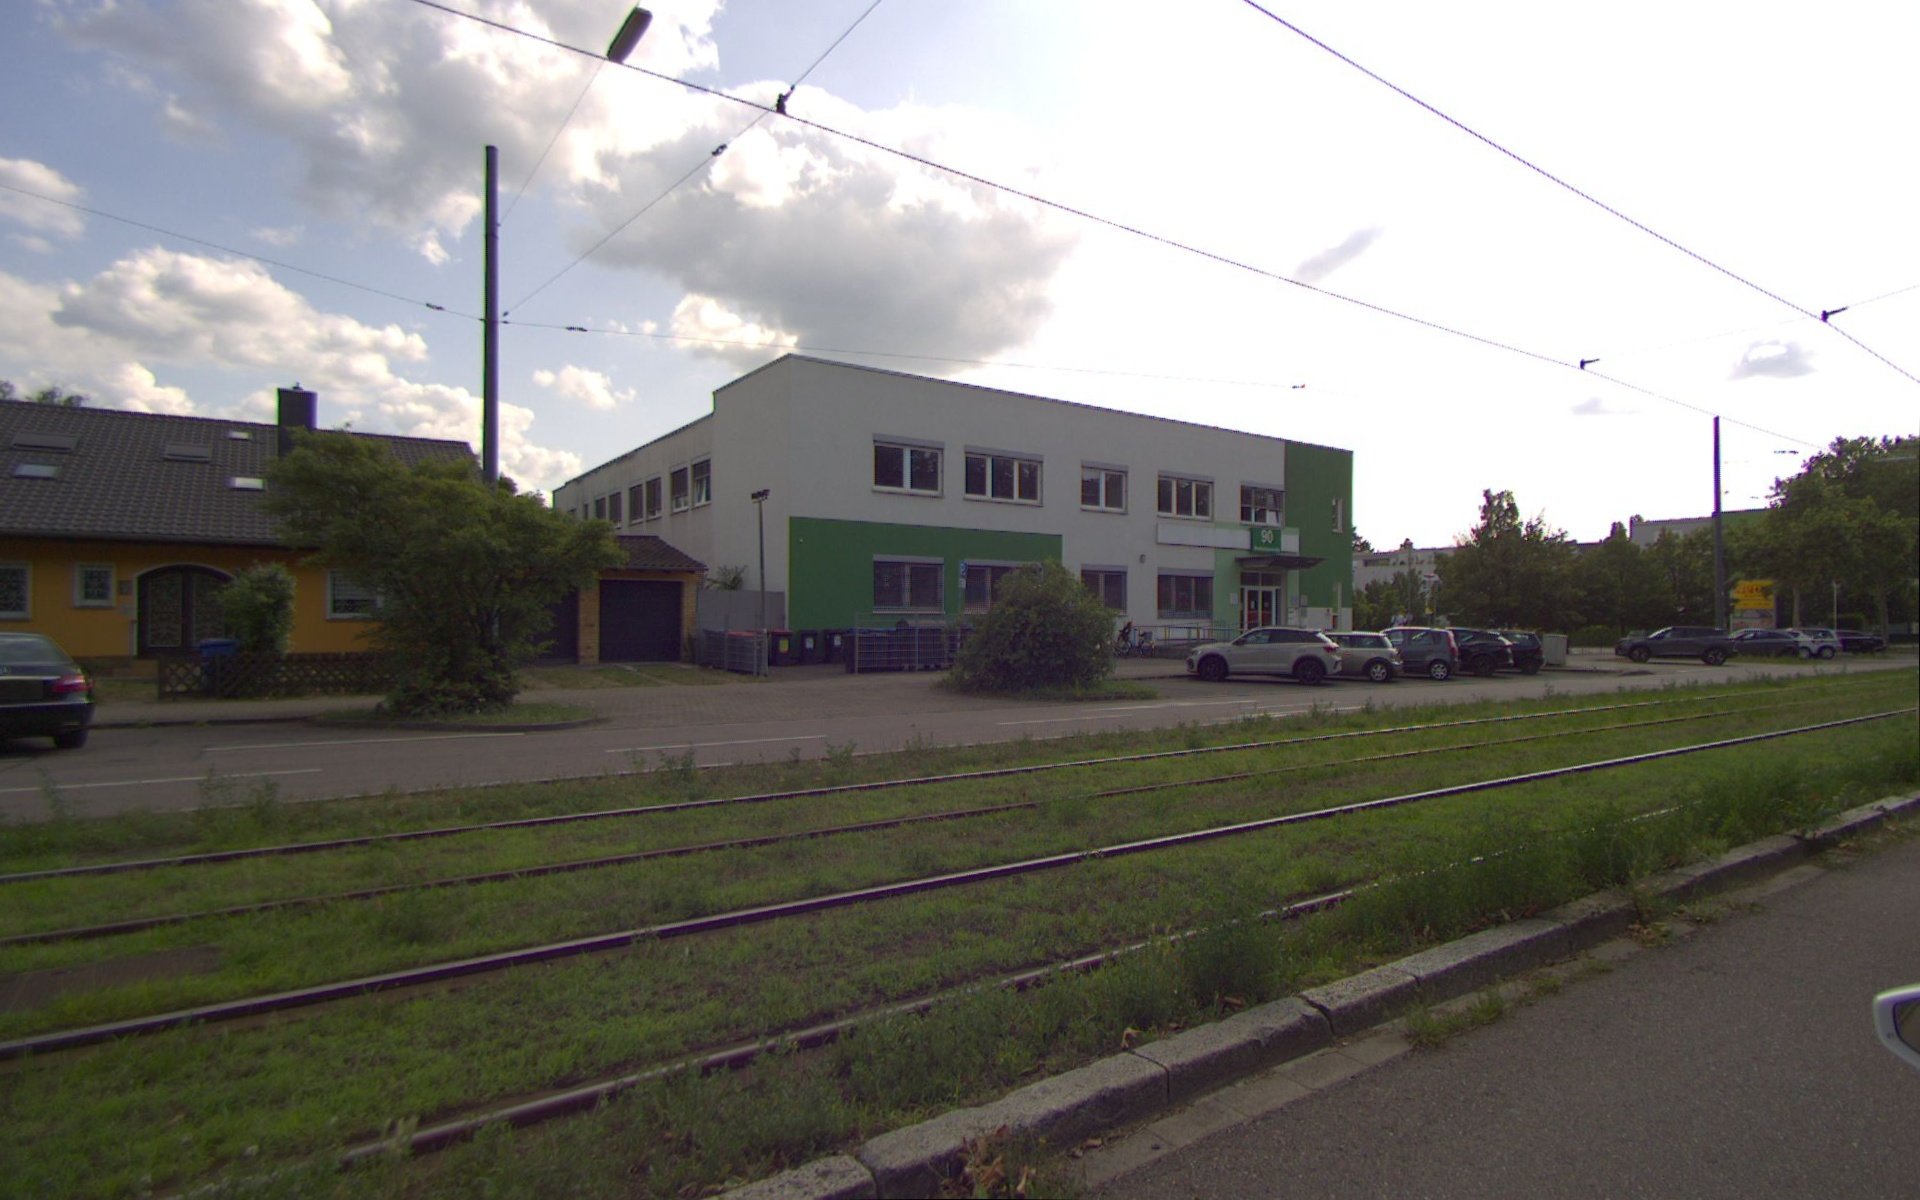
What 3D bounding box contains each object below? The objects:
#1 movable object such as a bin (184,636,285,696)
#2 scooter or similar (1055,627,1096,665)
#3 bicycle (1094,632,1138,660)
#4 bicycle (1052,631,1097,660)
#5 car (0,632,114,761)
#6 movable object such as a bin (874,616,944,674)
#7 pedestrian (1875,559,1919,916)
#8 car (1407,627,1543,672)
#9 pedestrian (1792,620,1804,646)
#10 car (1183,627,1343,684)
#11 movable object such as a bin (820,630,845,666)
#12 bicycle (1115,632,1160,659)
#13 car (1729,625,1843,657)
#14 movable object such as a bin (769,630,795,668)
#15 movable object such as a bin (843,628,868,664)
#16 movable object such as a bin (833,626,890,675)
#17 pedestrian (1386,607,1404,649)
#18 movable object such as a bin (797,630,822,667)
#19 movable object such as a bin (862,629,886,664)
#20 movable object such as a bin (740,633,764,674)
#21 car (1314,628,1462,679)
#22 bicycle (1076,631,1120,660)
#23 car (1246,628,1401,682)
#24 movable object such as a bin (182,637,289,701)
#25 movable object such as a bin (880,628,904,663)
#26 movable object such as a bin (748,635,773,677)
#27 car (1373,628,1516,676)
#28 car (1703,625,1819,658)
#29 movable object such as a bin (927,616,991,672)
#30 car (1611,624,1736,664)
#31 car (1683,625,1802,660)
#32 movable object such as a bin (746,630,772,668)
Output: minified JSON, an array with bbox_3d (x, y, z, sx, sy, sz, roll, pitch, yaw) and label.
[{"bbox_3d":[-14.598,1.303,20.250,1.602,1.107,1.246,1,-1,-36],"label":"movable object such as a bin"},{"bbox_3d":[3.809,1.507,33.269,1.073,1.171,1.306,2,0,-5],"label":"scooter or similar"},{"bbox_3d":[5.664,1.651,36.524,0.454,0.911,1.846,2,0,-33],"label":"bicycle"},{"bbox_3d":[4.016,1.586,35.348,0.454,0.911,1.846,2,0,-33],"label":"bicycle"},{"bbox_3d":[-12.410,1.098,12.458,4.576,1.425,1.877,-1,-3,36],"label":"car"},{"bbox_3d":[-1.425,1.239,28.227,1.693,1.540,1.000,0,1,-32],"label":"movable object such as a bin"},{"bbox_3d":[5.104,0.669,4.959,0.793,1.709,0.847,1,-1,39],"label":"pedestrian"},{"bbox_3d":[18.034,1.691,35.342,4.157,1.501,1.881,-1,-1,27],"label":"car"},{"bbox_3d":[56.502,2.227,67.715,0.597,1.699,0.463,1,-1,-36],"label":"pedestrian"},{"bbox_3d":[8.507,1.502,28.153,4.153,1.501,1.883,-1,-1,22],"label":"car"},{"bbox_3d":[-3.858,1.450,30.454,0.558,1.056,0.565,0,1,-34],"label":"movable object such as a bin"},{"bbox_3d":[6.547,1.677,37.085,0.454,0.911,1.846,2,0,-33],"label":"bicycle"},{"bbox_3d":[43.013,2.133,52.421,4.152,1.501,1.883,1,0,20],"label":"car"},{"bbox_3d":[-5.224,1.433,29.507,0.558,1.056,0.565,0,1,-34],"label":"movable object such as a bin"},{"bbox_3d":[-3.217,1.413,30.880,0.558,1.056,0.565,0,1,-34],"label":"movable object such as a bin"},{"bbox_3d":[-2.699,1.365,27.396,1.242,1.251,1.000,0,1,-32],"label":"movable object such as a bin"},{"bbox_3d":[19.180,1.227,44.247,0.504,1.852,0.542,1,-1,-36],"label":"pedestrian"},{"bbox_3d":[-4.496,1.444,30.045,0.558,1.056,0.565,0,1,-34],"label":"movable object such as a bin"},{"bbox_3d":[-2.669,1.434,31.227,0.558,1.056,0.565,0,1,-34],"label":"movable object such as a bin"},{"bbox_3d":[-5.529,1.423,26.722,0.474,1.056,0.490,0,1,-34],"label":"movable object such as a bin"},{"bbox_3d":[13.411,1.642,31.488,4.157,1.501,1.881,-1,-1,27],"label":"car"},{"bbox_3d":[4.929,1.622,36.020,0.454,0.911,1.846,2,0,-33],"label":"bicycle"},{"bbox_3d":[10.832,1.586,29.922,4.157,1.501,1.881,-1,-1,27],"label":"car"},{"bbox_3d":[-13.727,1.276,19.083,1.602,1.115,1.246,1,-1,-36],"label":"movable object such as a bin"},{"bbox_3d":[-2.132,1.436,31.604,0.558,1.056,0.565,0,1,-34],"label":"movable object such as a bin"},{"bbox_3d":[-5.225,1.449,26.257,0.477,1.056,0.501,0,1,-34],"label":"movable object such as a bin"},{"bbox_3d":[15.944,1.668,33.179,4.157,1.501,1.881,-1,-1,27],"label":"car"},{"bbox_3d":[40.451,2.077,50.844,4.152,1.501,1.883,1,0,20],"label":"car"},{"bbox_3d":[-0.027,1.263,29.156,1.587,1.540,1.000,0,1,-32],"label":"movable object such as a bin"},{"bbox_3d":[30.299,1.838,42.832,4.161,1.501,1.879,1,-1,31],"label":"car"},{"bbox_3d":[38.168,2.049,49.115,4.152,1.501,1.883,1,0,20],"label":"car"},{"bbox_3d":[-5.811,1.401,29.073,0.558,1.056,0.565,0,1,-34],"label":"movable object such as a bin"}]
